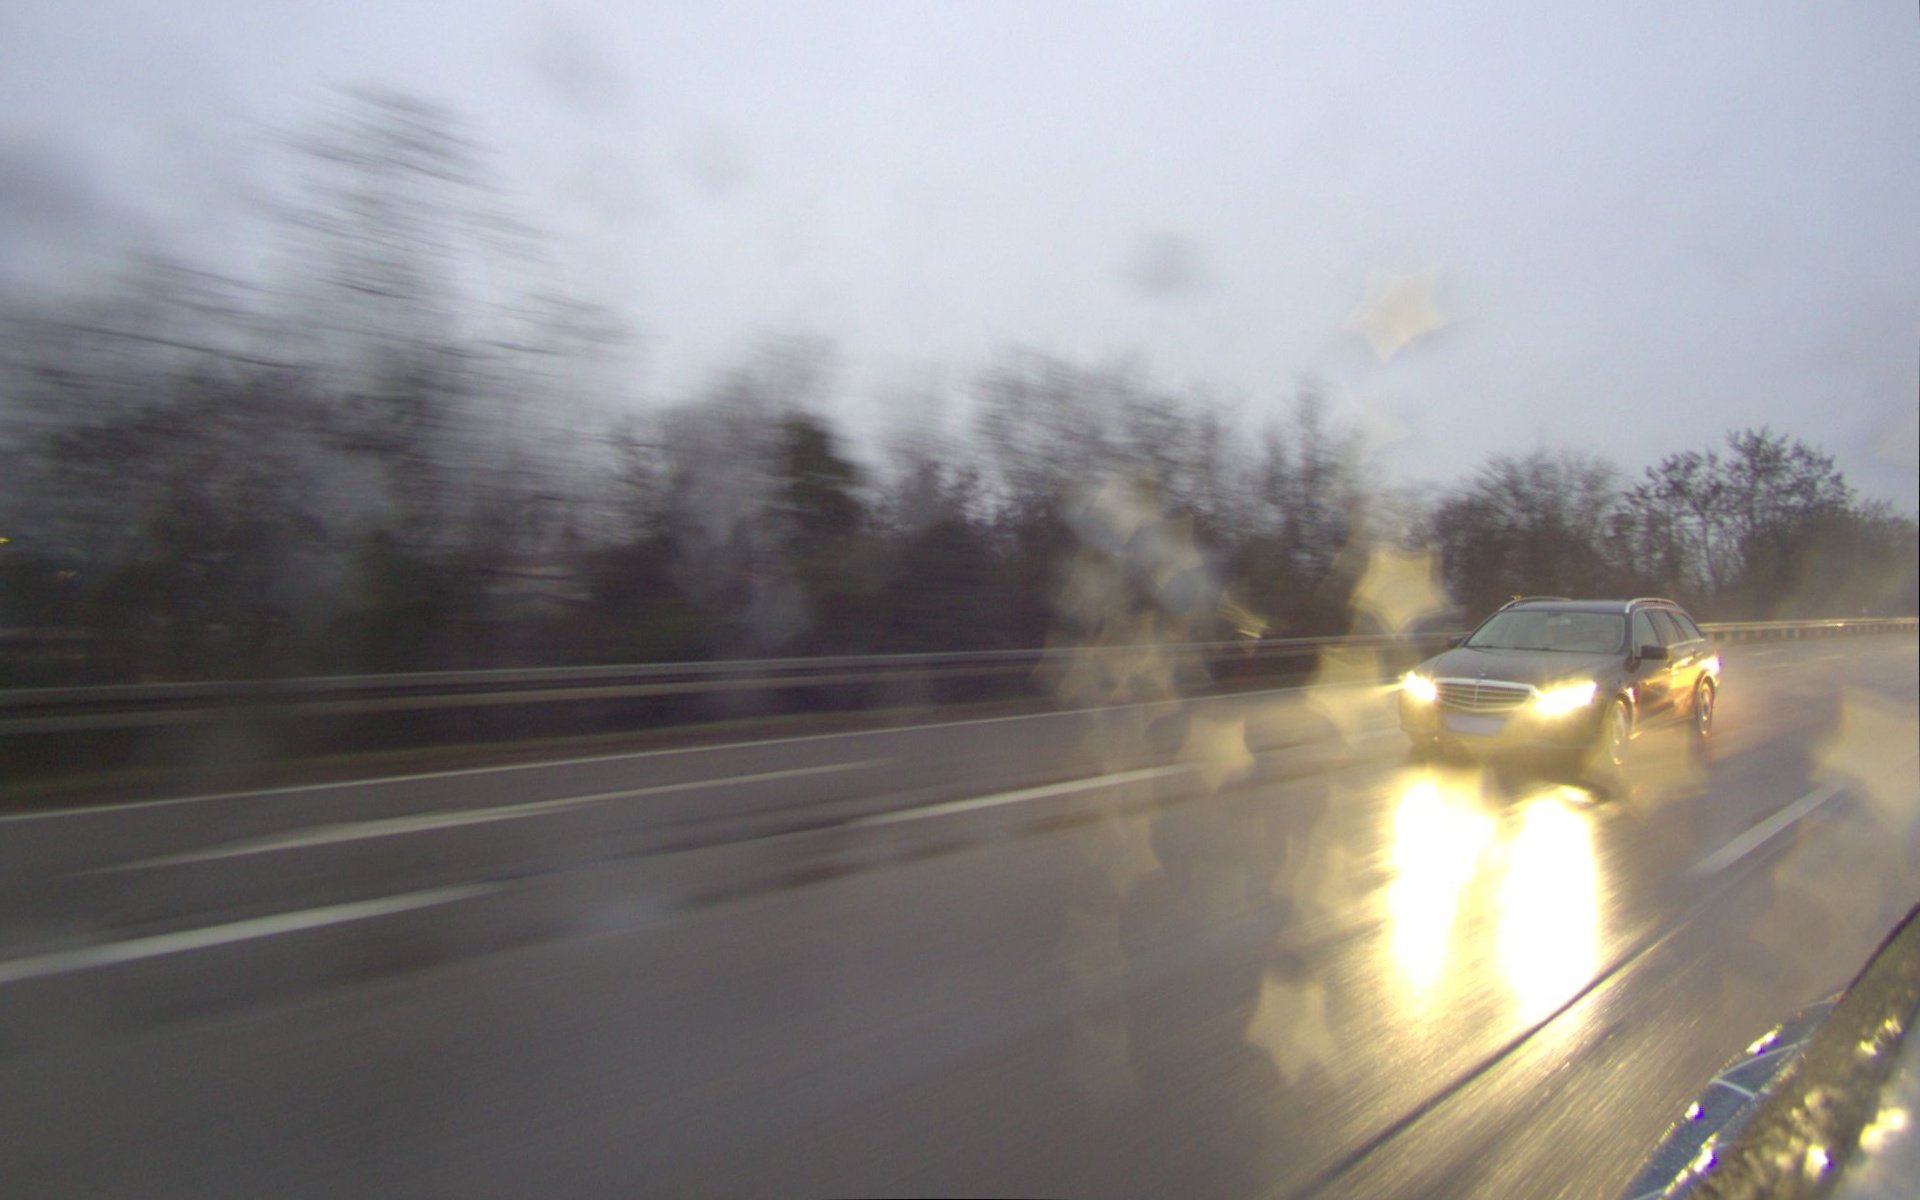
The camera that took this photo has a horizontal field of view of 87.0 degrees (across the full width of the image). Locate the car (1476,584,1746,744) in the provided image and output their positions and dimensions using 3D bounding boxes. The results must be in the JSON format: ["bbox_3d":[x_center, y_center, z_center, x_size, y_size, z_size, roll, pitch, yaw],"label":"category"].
[{"bbox_3d":[7.367,0.590,11.283,4.105,1.472,1.592,0,0,-43],"label":"car"}]
